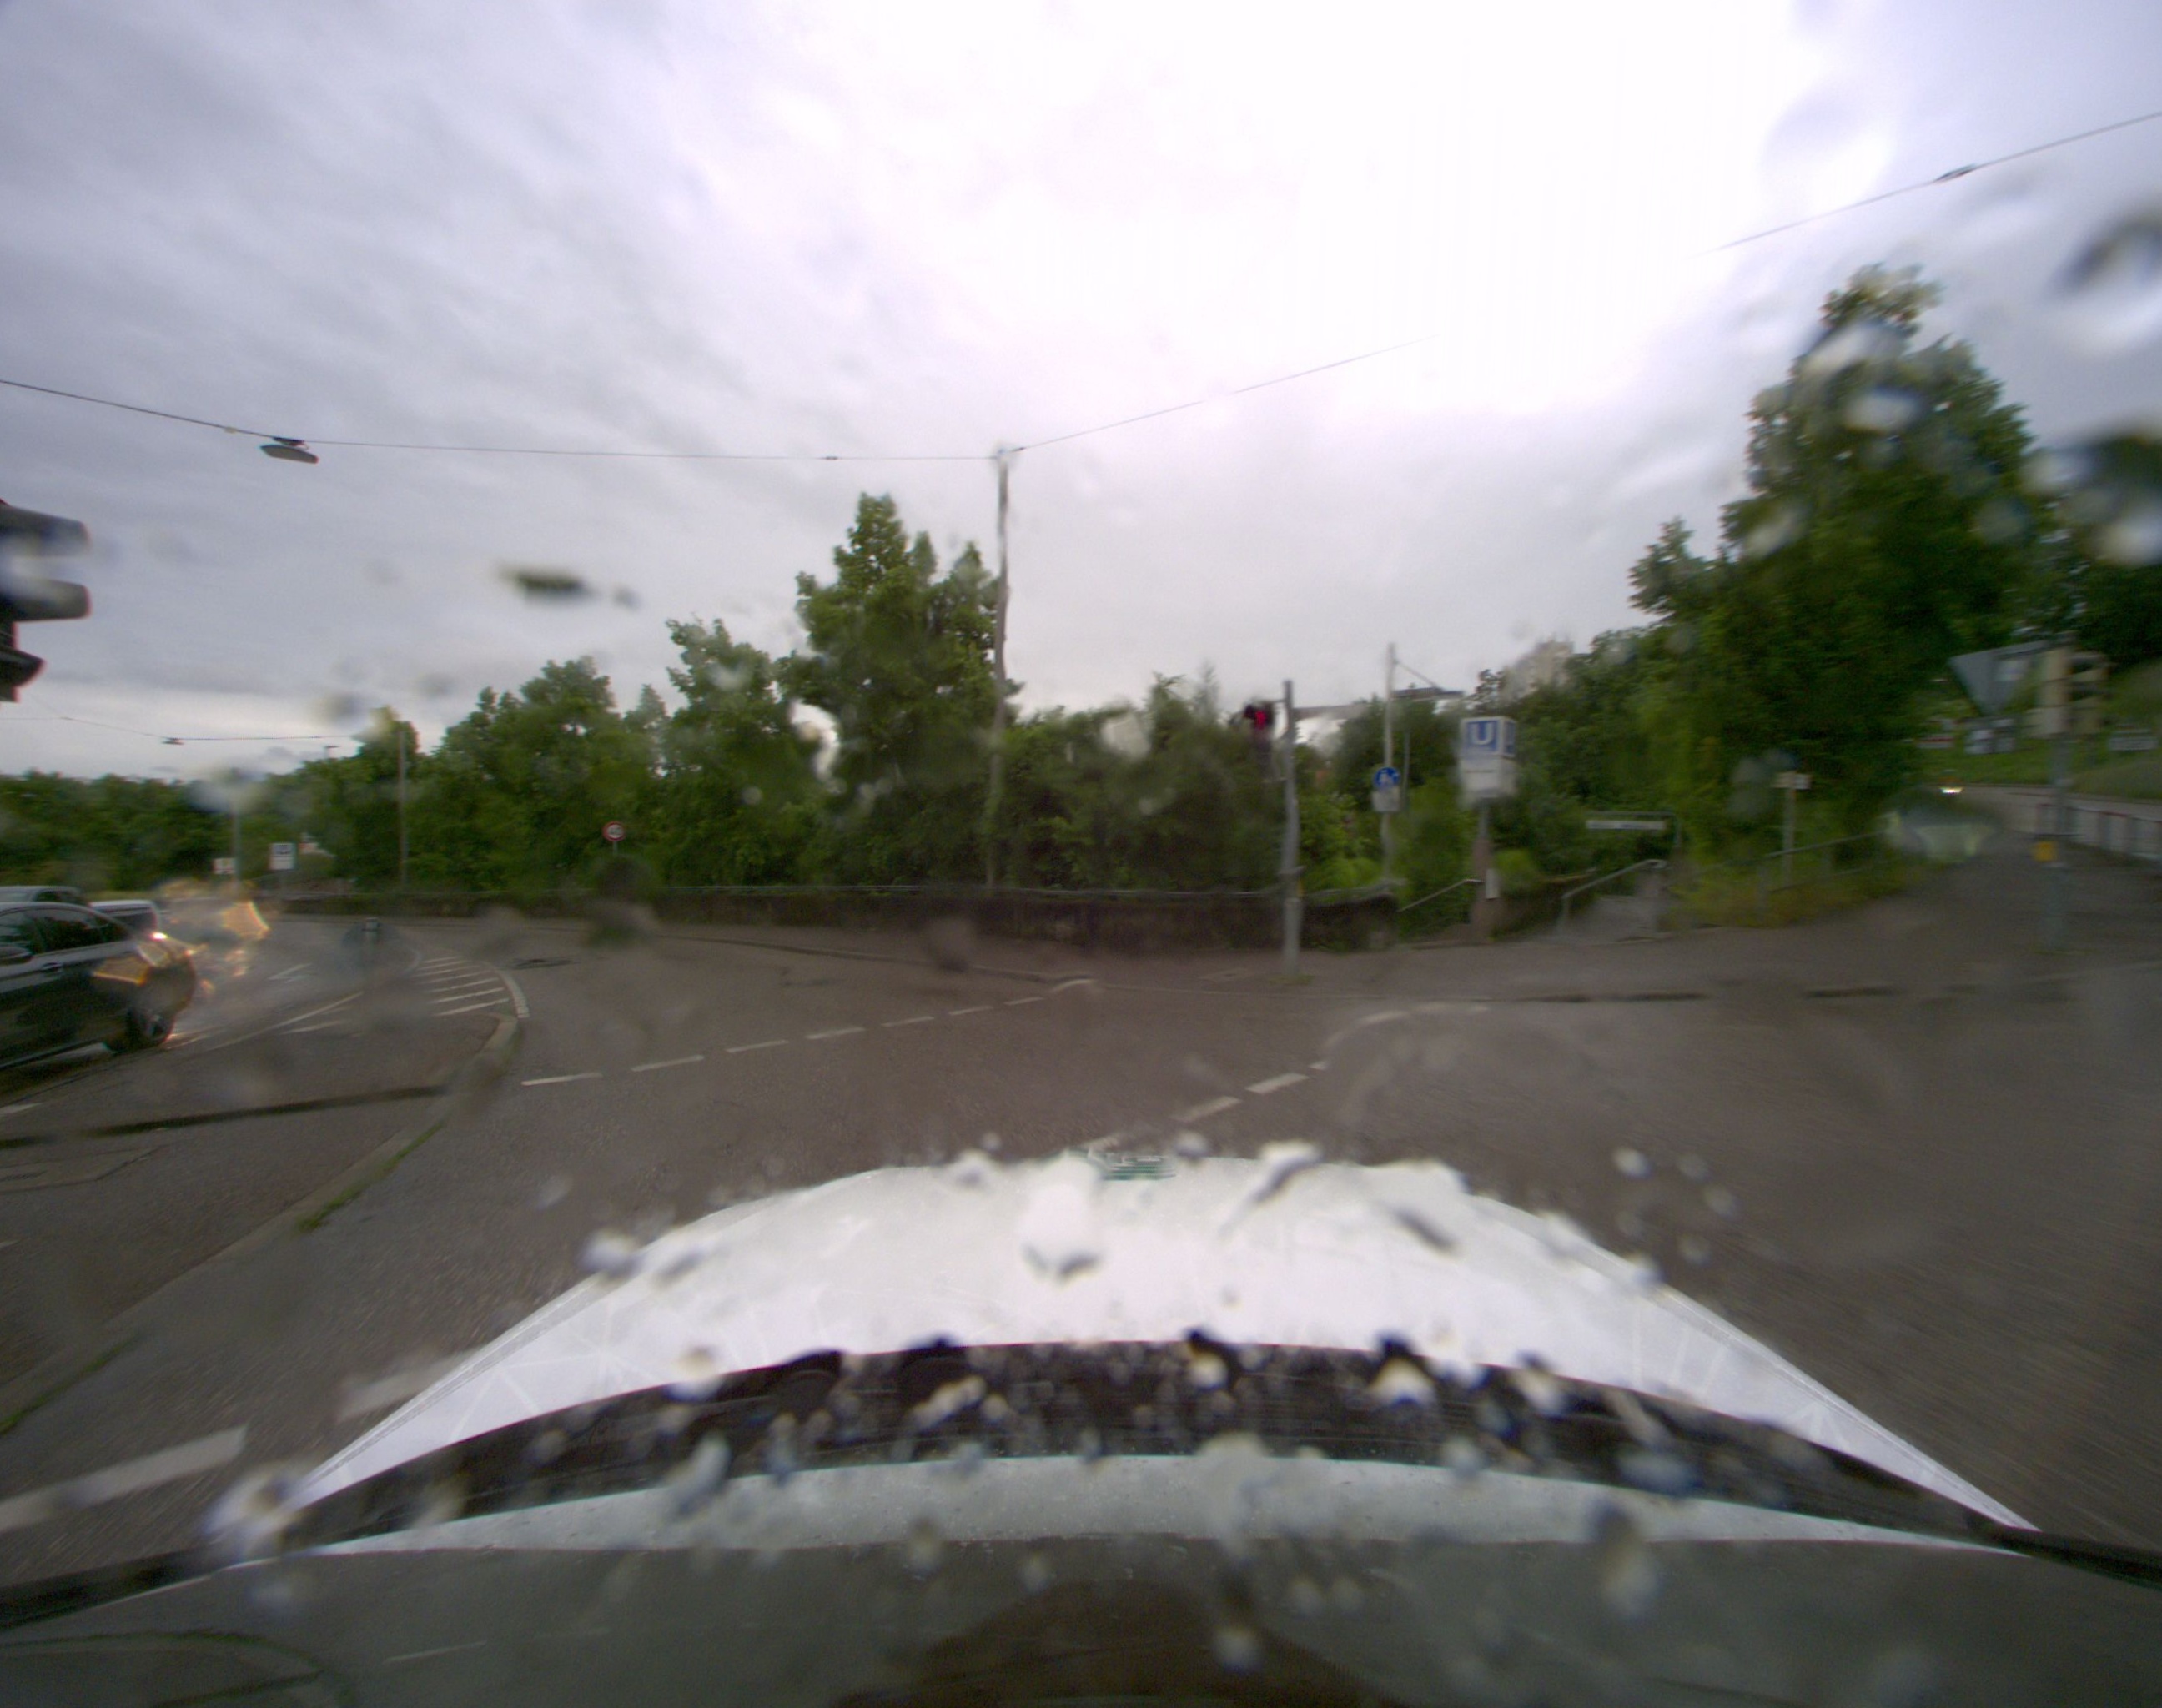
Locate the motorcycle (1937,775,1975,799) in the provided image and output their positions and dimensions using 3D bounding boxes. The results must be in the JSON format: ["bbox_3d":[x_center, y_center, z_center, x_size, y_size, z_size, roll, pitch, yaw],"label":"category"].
[{"bbox_3d":[43.945,-3.381,40.932,0.930,1.143,2.664,0,5,40],"label":"motorcycle"}]

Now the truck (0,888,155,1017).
[{"bbox_3d":[-17.526,1.545,13.039,1.894,1.848,5.229,-3,0,-30],"label":"truck"}]

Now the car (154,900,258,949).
[{"bbox_3d":[-32.178,2.568,29.929,4.383,1.474,1.866,-3,2,34],"label":"car"}]

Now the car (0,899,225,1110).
[{"bbox_3d":[-8.942,1.194,6.145,1.869,1.395,4.557,-4,1,-26],"label":"car"}]

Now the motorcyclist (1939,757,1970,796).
[{"bbox_3d":[44.023,-3.905,41.045,0.875,1.872,1.263,0,5,40],"label":"motorcyclist"}]
